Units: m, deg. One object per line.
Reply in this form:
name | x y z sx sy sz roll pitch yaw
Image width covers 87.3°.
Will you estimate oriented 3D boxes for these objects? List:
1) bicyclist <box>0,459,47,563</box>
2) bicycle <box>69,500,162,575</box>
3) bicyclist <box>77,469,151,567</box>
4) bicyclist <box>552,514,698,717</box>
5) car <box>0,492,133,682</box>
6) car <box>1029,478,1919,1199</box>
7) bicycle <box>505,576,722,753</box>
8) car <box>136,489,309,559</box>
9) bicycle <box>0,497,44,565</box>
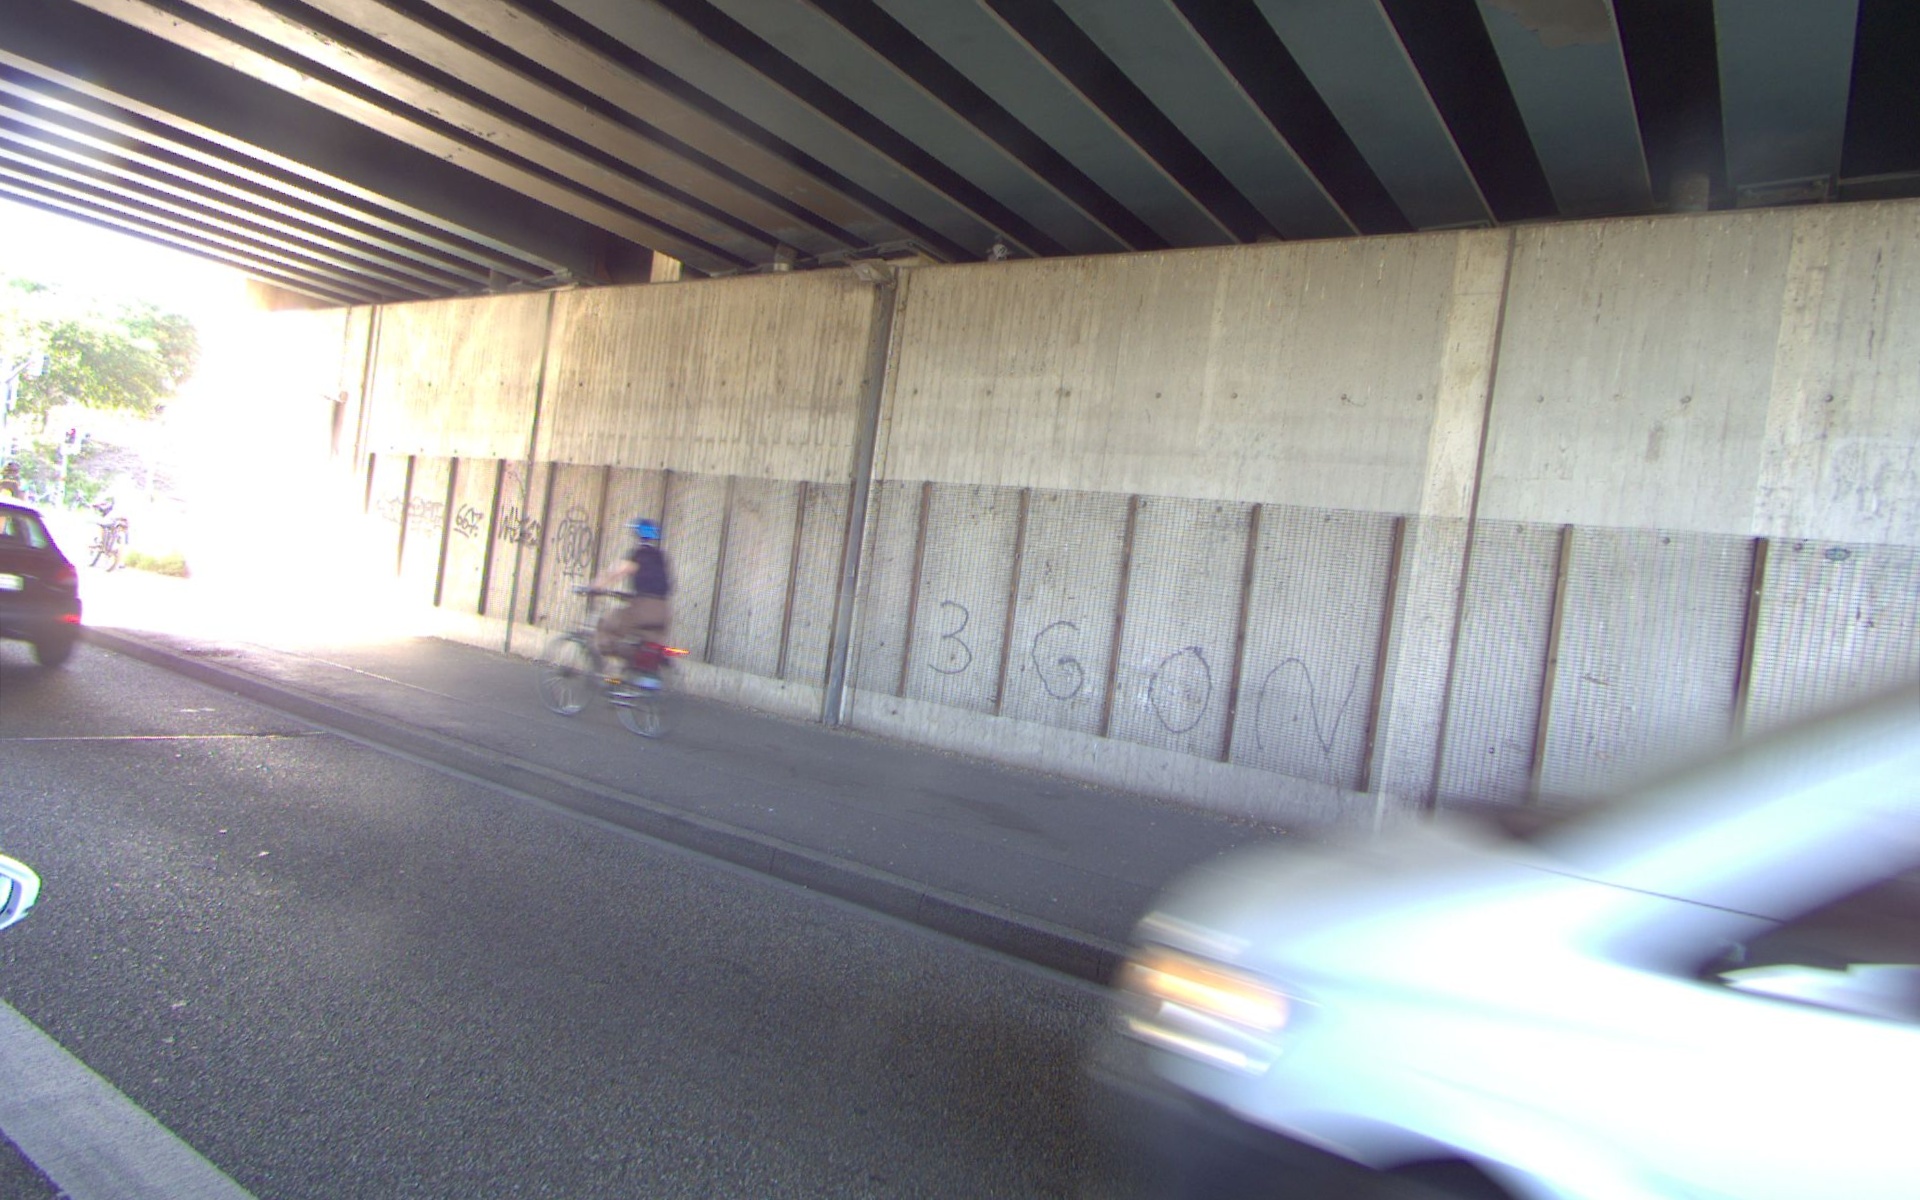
bicyclist | -16.089 -1.515 17.062 0.635 1.647 0.676 6 -2 42
bicycle | -14.679 -1.087 17.480 1.577 1.126 0.682 6 0 31
bicyclist | -14.752 -1.418 17.542 0.723 1.581 0.670 7 0 31
bicyclist | -2.788 0.120 8.373 0.833 1.554 0.653 7 3 31
car | -9.144 -0.308 8.703 3.653 1.473 1.750 7 -1 29
car | 2.718 1.022 1.748 4.751 1.857 1.903 7 -1 28
bicycle | -2.929 0.500 8.449 1.748 1.183 0.651 8 3 30
car | -24.015 -2.437 32.898 1.779 1.643 4.100 9 1 29
bicycle | -16.177 -1.199 17.095 1.508 1.036 0.676 6 -2 43
